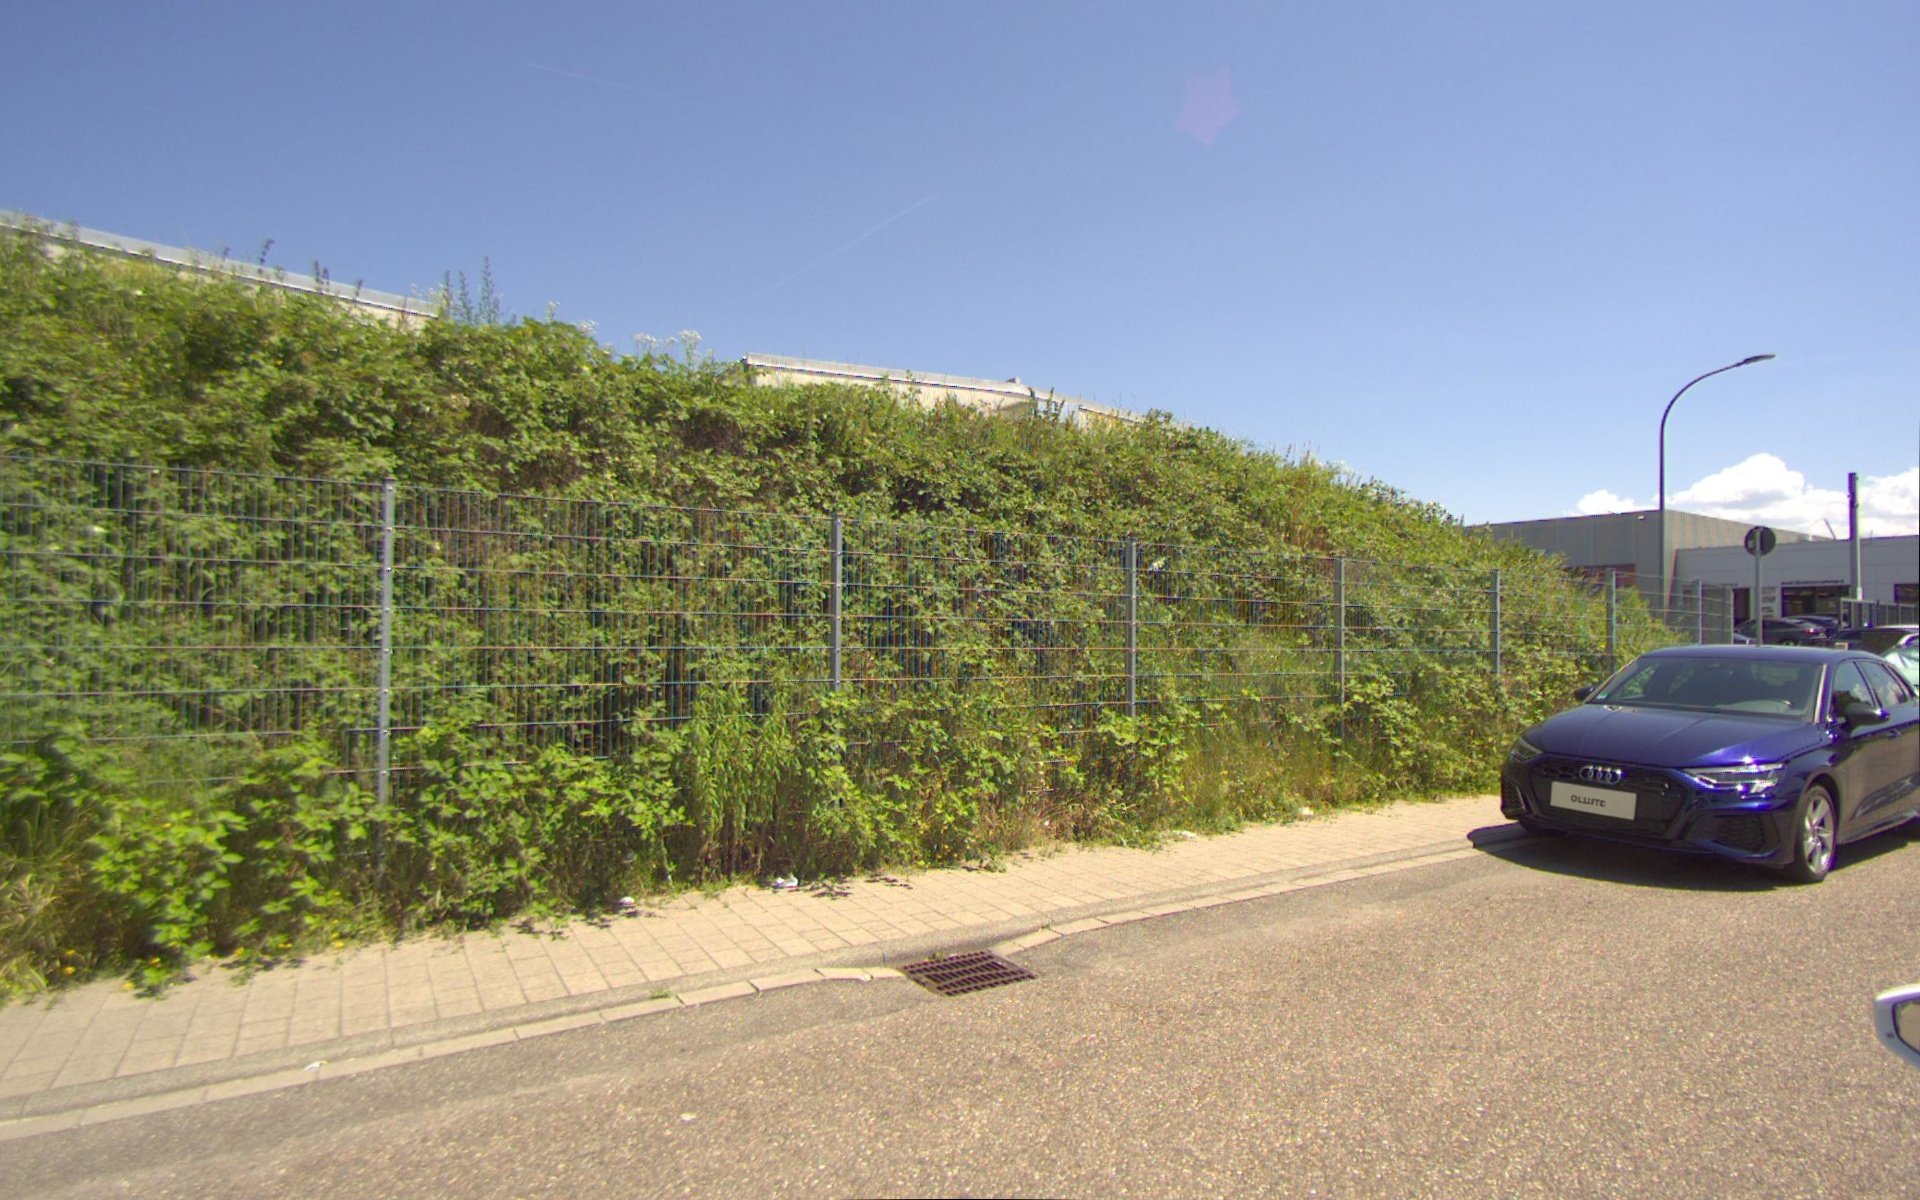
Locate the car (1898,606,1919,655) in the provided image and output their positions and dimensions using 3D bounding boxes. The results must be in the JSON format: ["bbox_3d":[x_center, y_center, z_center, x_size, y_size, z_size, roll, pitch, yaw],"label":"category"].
[{"bbox_3d":[40.047,1.178,39.297,1.978,1.947,4.563,1,-2,-31],"label":"car"}]

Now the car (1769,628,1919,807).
[{"bbox_3d":[10.106,1.093,10.050,4.216,1.566,1.824,2,-3,-32],"label":"car"}]

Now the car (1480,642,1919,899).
[{"bbox_3d":[5.807,1.053,7.503,4.102,1.436,1.646,2,-3,-34],"label":"car"}]

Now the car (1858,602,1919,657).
[{"bbox_3d":[37.994,1.128,38.278,1.978,2.125,5.291,1,-2,-31],"label":"car"}]

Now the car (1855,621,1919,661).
[{"bbox_3d":[35.857,1.525,36.684,1.979,1.416,4.413,4,-4,-32],"label":"car"}]

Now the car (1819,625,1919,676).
[{"bbox_3d":[31.896,1.695,33.641,1.979,1.647,4.413,4,-4,-32],"label":"car"}]

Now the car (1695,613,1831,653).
[{"bbox_3d":[35.994,1.489,45.152,1.979,1.647,4.413,4,-4,-32],"label":"car"}]

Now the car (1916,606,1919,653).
[{"bbox_3d":[42.039,1.168,40.407,1.978,1.947,4.859,1,-2,-31],"label":"car"}]
